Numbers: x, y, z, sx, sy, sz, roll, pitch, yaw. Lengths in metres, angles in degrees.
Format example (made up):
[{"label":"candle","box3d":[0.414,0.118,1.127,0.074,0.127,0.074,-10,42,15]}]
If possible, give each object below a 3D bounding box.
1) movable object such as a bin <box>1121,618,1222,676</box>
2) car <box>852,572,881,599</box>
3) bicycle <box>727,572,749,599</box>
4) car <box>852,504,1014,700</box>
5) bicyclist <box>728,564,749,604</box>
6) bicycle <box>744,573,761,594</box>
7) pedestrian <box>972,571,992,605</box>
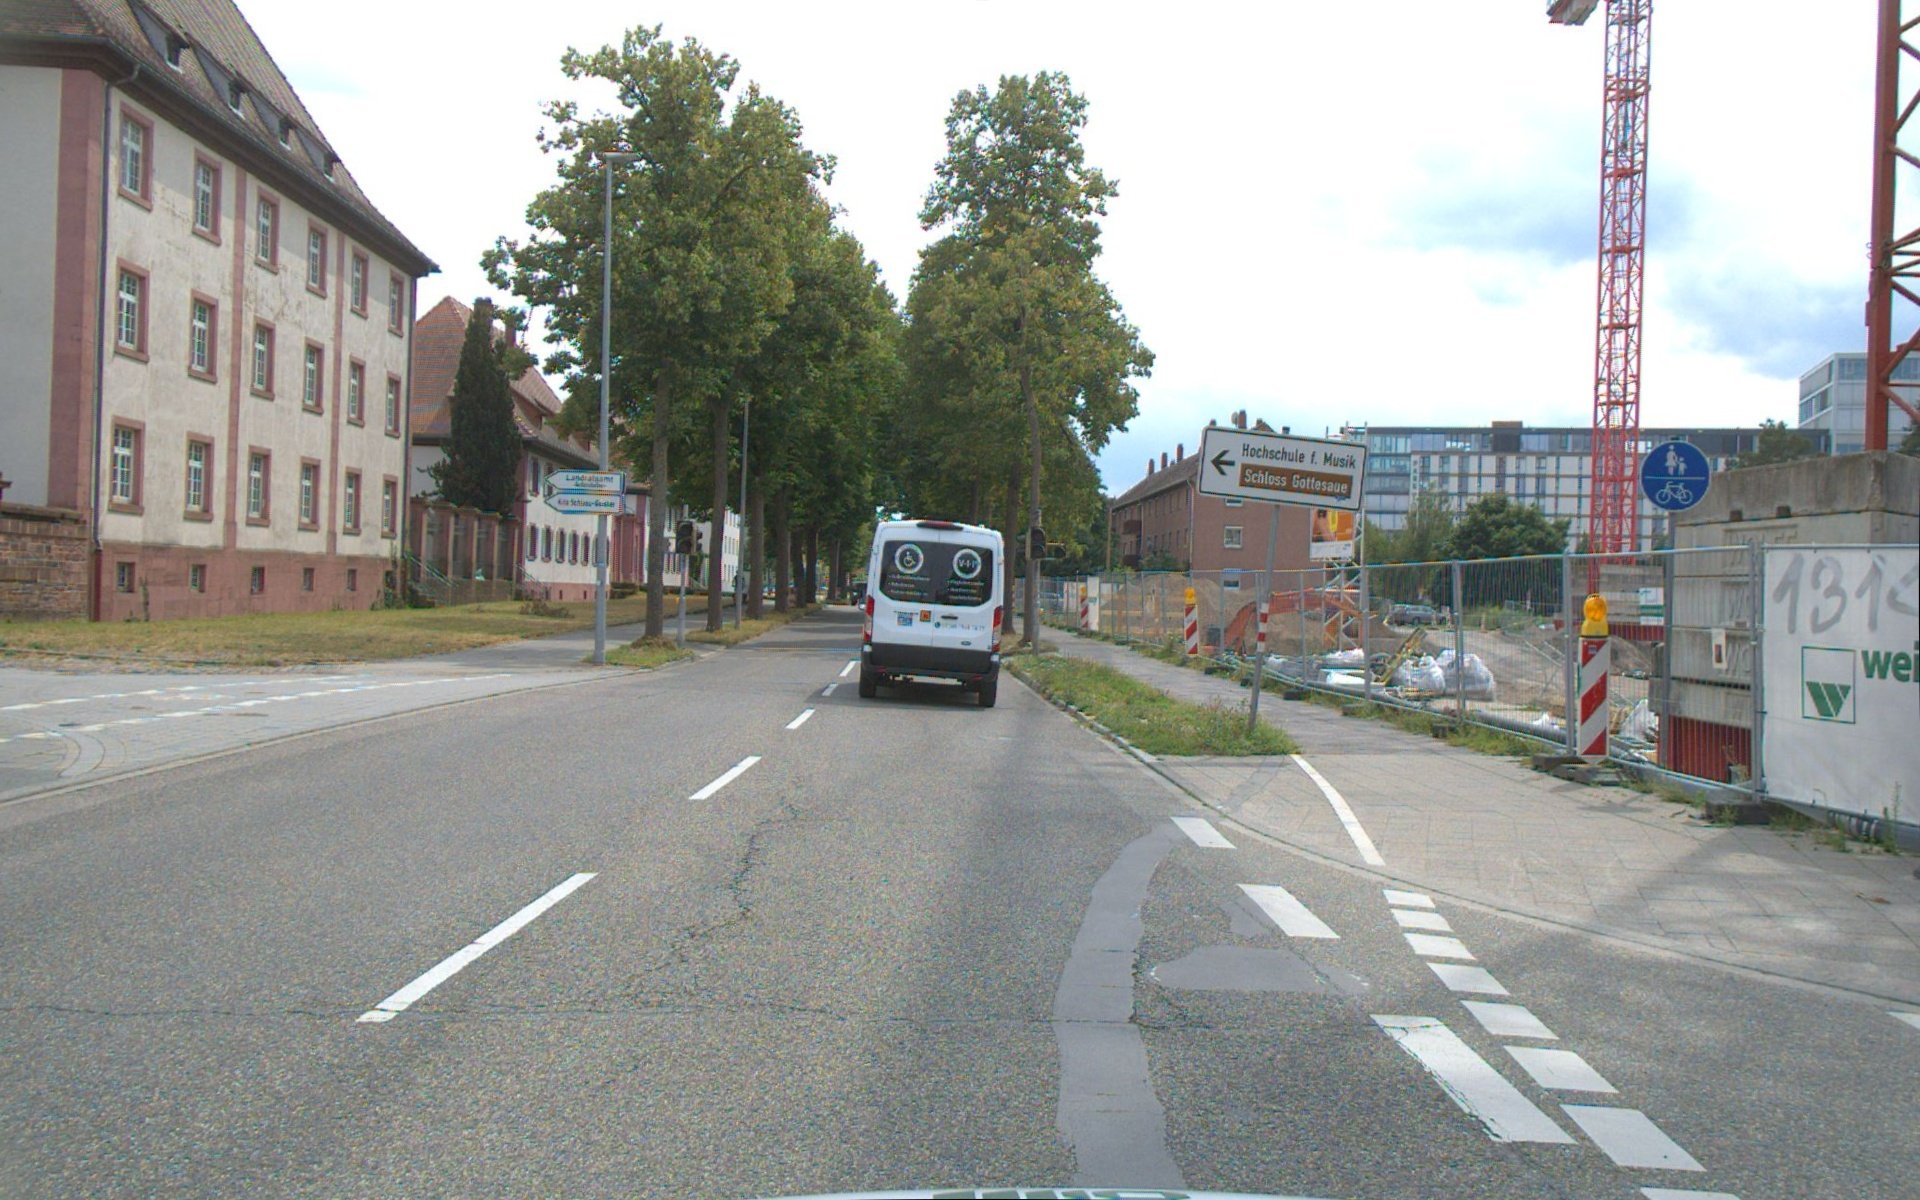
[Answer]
[{"label":"movable object such as a bin","box3d":[10.213,2.239,79.737,4.582,2.635,3.135,0,0,12]},{"label":"car","box3d":[-6.316,-0.958,111.741,1.735,1.688,4.256,0,-1,-1]},{"label":"bicycle","box3d":[-10.008,-0.655,74.656,0.708,1.114,2.150,6,0,-2]},{"label":"car","box3d":[-0.495,0.033,24.567,2.023,2.584,3.996,3,0,-5]},{"label":"bicyclist","box3d":[-10.006,-0.723,74.673,0.708,1.684,0.958,6,0,-2]},{"label":"bicycle","box3d":[-12.229,-0.972,97.665,0.708,1.114,2.224,6,0,-2]},{"label":"pedestrian","box3d":[1.224,-0.658,90.252,0.864,1.846,0.889,0,0,17]}]
